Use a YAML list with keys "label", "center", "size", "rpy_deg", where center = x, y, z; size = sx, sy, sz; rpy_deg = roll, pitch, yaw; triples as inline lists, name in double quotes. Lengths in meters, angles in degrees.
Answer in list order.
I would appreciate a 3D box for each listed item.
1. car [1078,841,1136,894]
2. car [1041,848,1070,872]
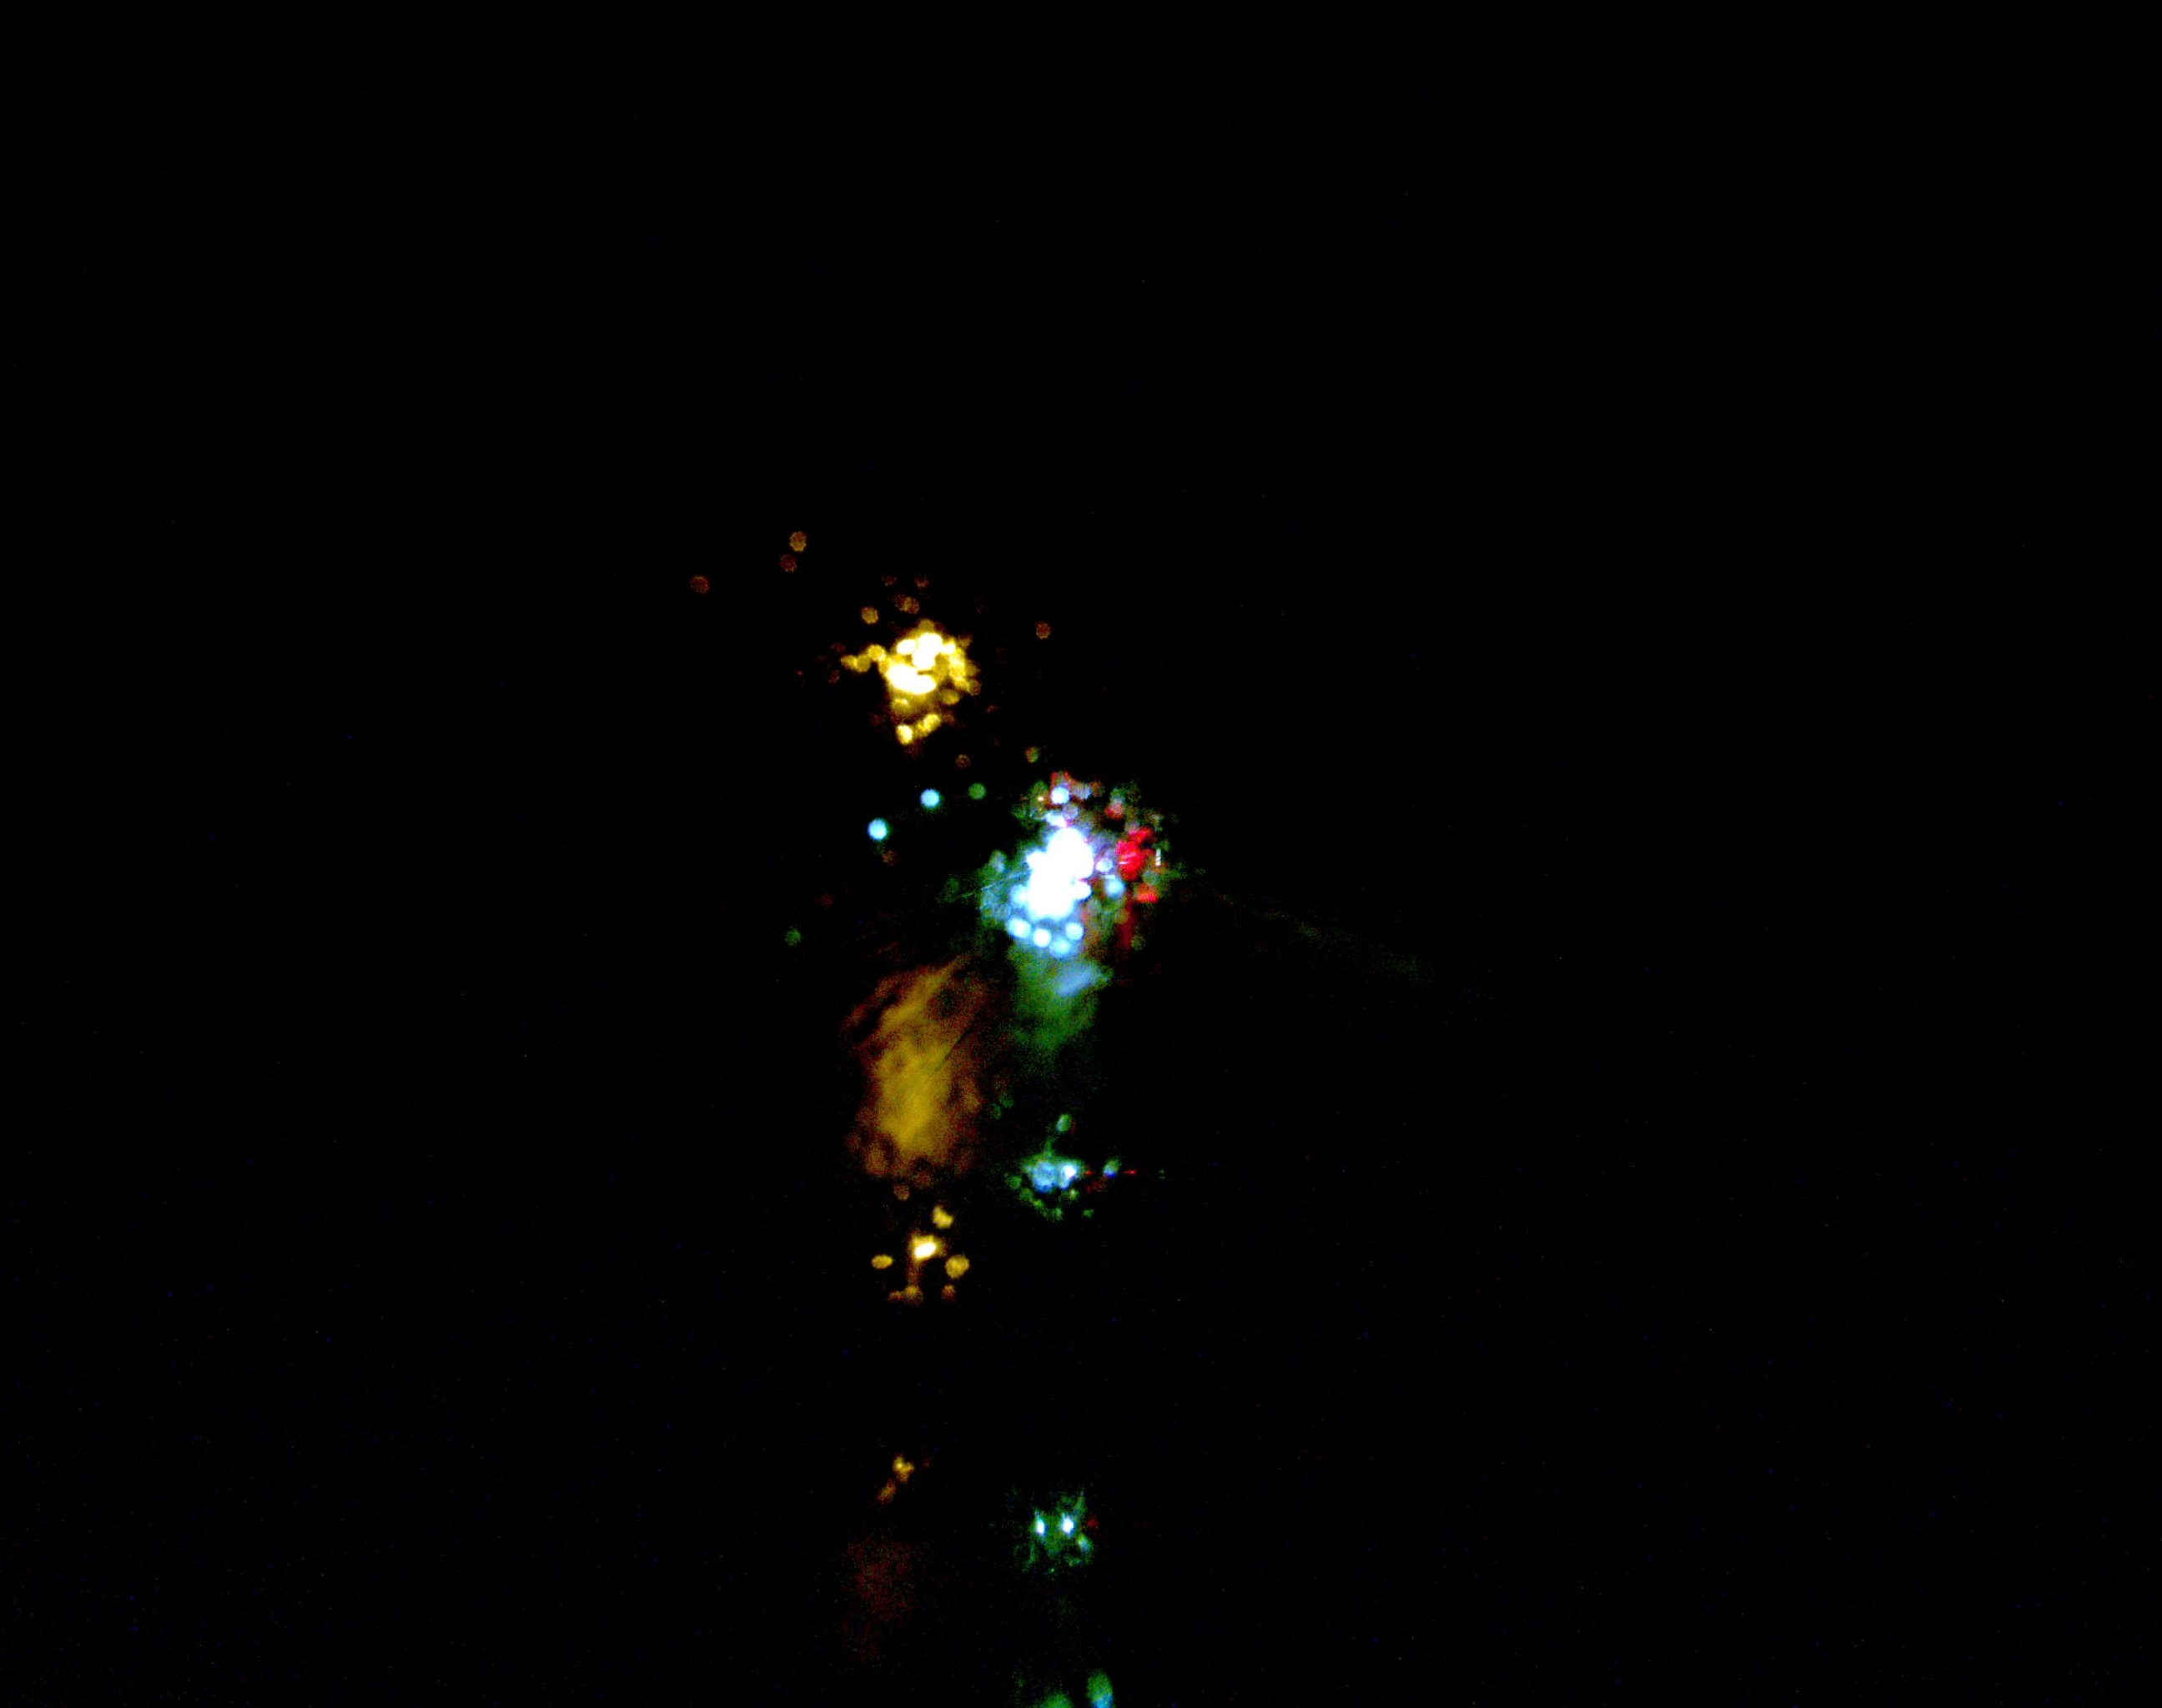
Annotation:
- label: "car"
  center: [0.885, 0.453, 27.722]
  size: [1.795, 1.628, 3.616]
  rpy_deg: [1, -1, 2]
- label: "car"
  center: [-1.664, 0.395, 54.142]
  size: [1.726, 1.518, 4.016]
  rpy_deg: [0, 0, 1]
